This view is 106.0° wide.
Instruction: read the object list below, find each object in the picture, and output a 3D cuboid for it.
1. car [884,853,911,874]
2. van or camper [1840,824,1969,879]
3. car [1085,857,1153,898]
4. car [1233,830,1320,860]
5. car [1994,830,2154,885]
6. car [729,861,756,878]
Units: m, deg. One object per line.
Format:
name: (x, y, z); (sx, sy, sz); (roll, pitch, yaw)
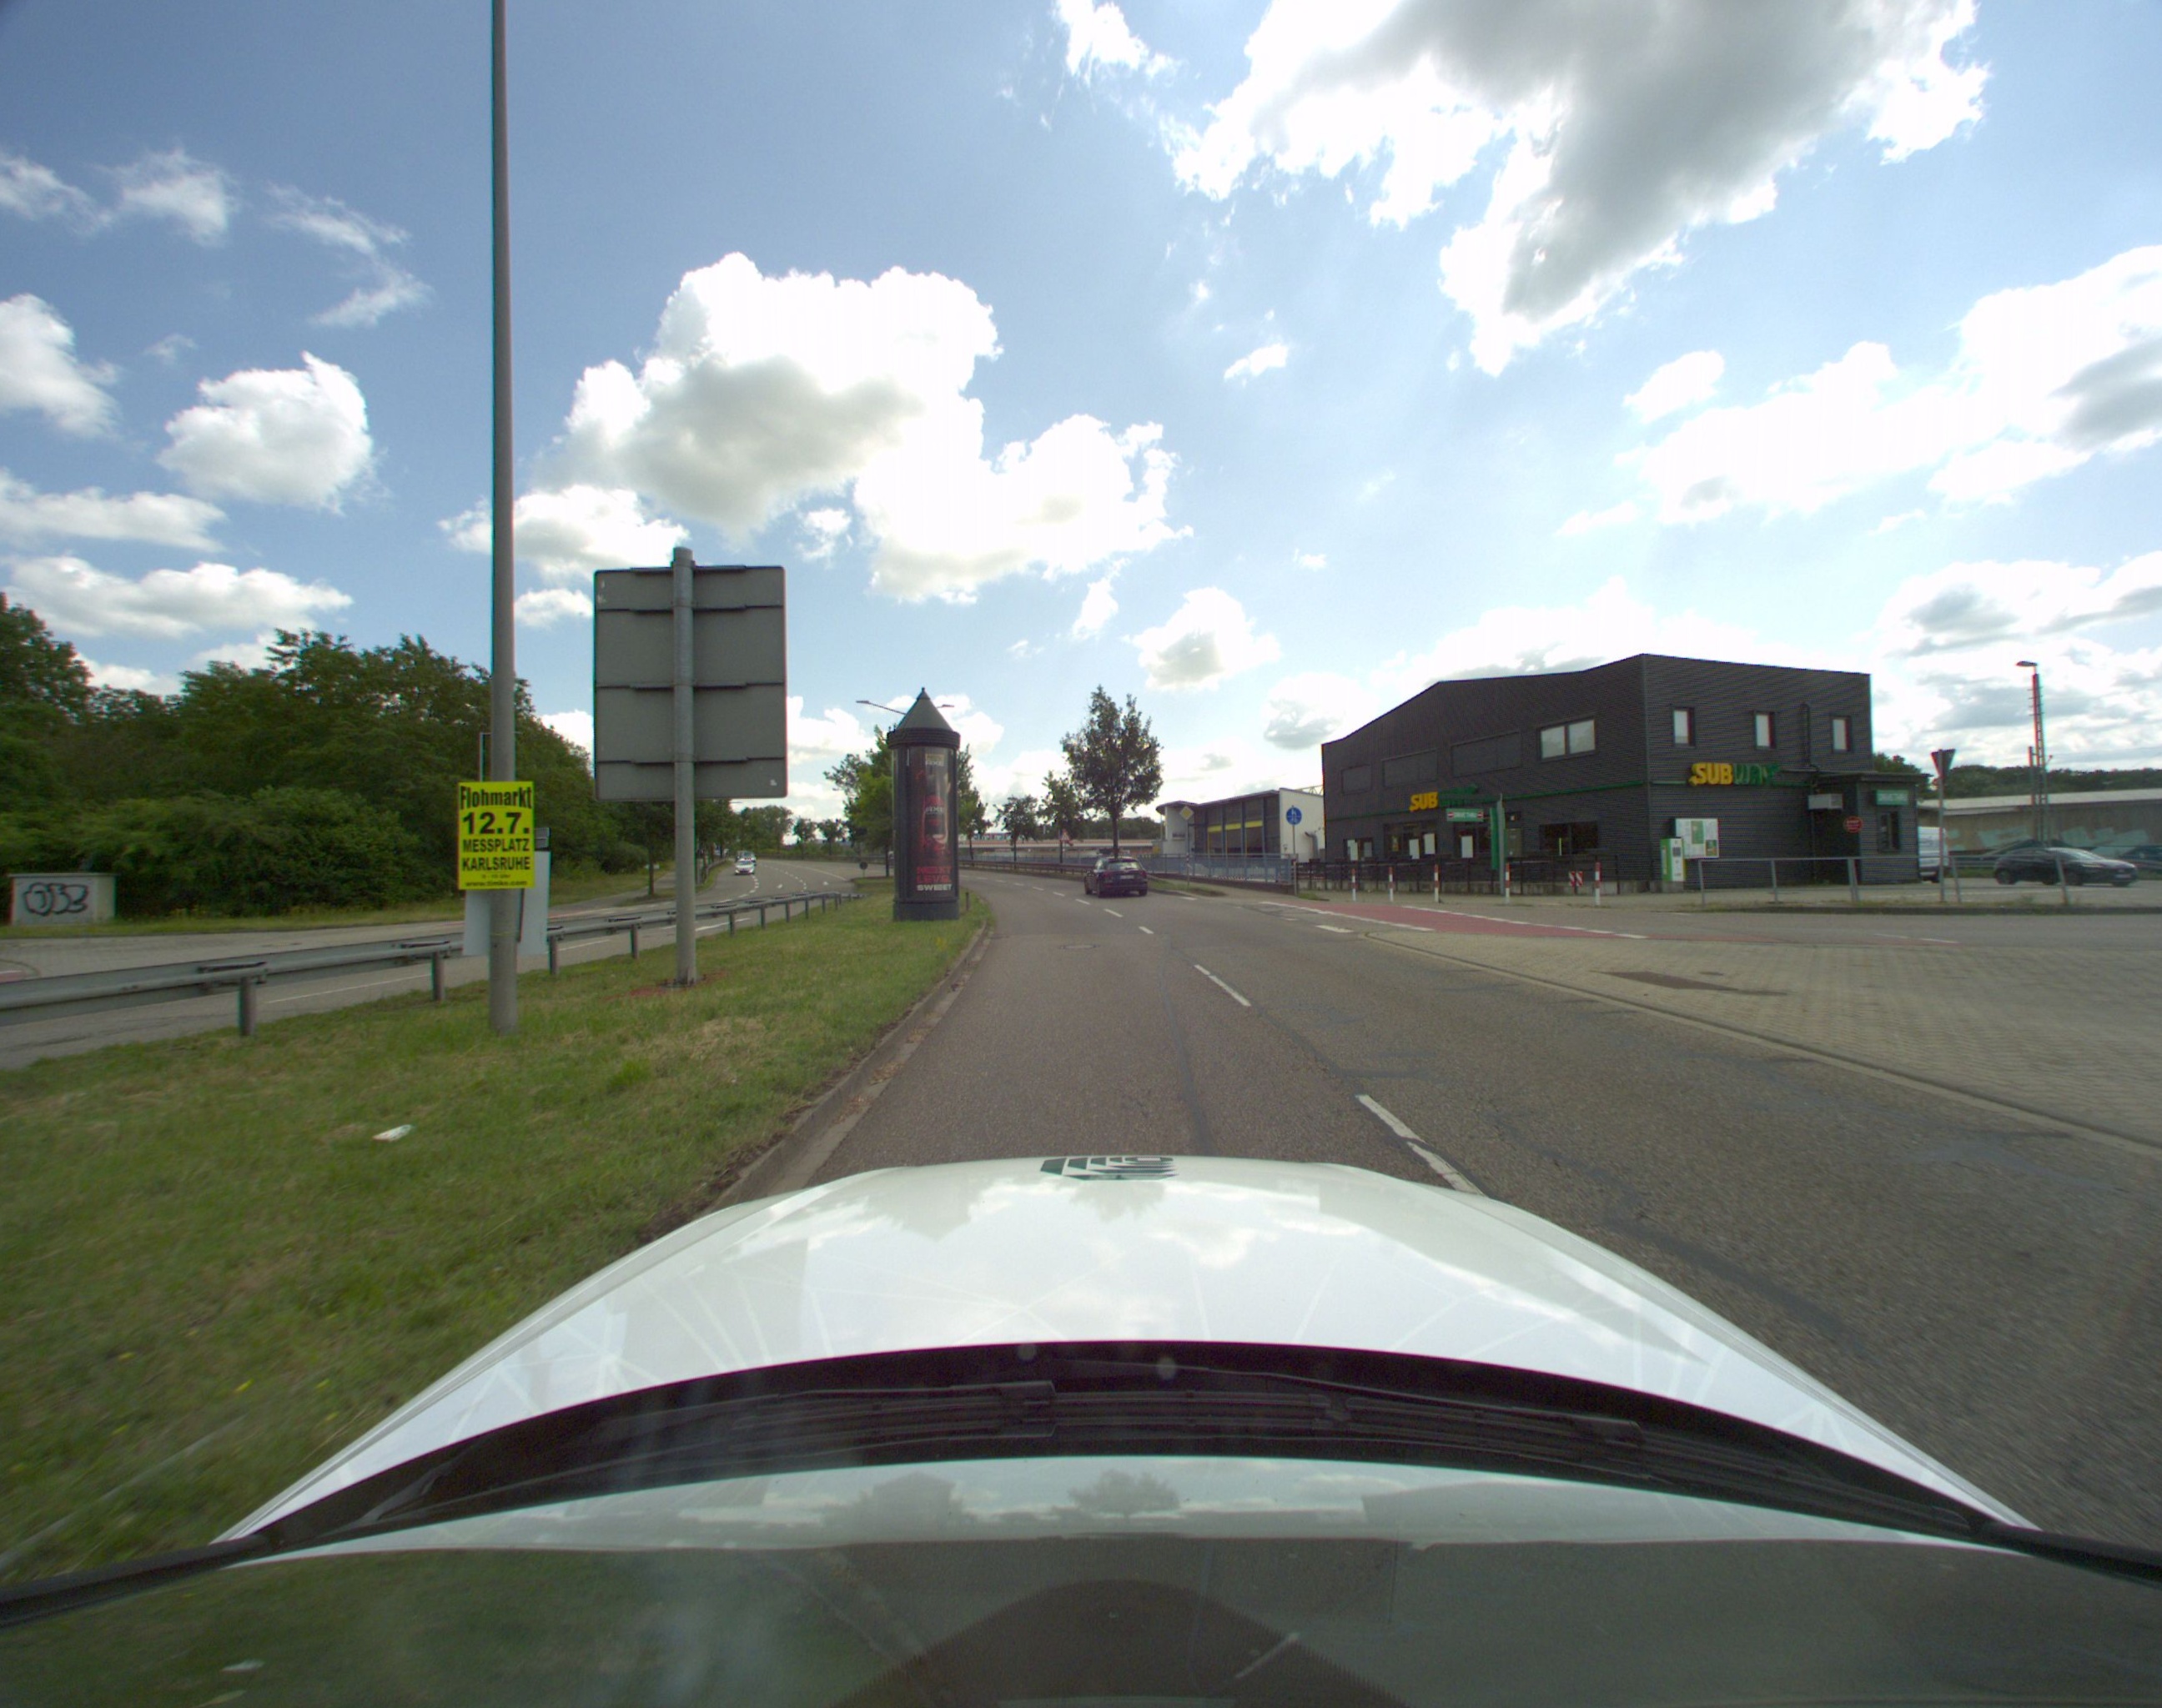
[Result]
car: (-19.362, 1.031, 85.730); (2.001, 2.037, 4.678); (-1, -1, -21)
van or camper: (35.046, -0.051, 34.607); (6.262, 2.173, 2.107); (1, -2, -28)
car: (1.339, 0.814, 30.566); (1.990, 1.390, 4.568); (-1, 0, -4)
car: (14.095, -0.660, 58.667); (5.822, 2.014, 2.217); (-1, -1, -20)
car: (39.453, 0.131, 32.521); (1.741, 2.014, 3.885); (-1, -1, 4)
car: (-33.390, 1.544, 80.493); (1.999, 1.532, 4.305); (-3, 0, -18)
